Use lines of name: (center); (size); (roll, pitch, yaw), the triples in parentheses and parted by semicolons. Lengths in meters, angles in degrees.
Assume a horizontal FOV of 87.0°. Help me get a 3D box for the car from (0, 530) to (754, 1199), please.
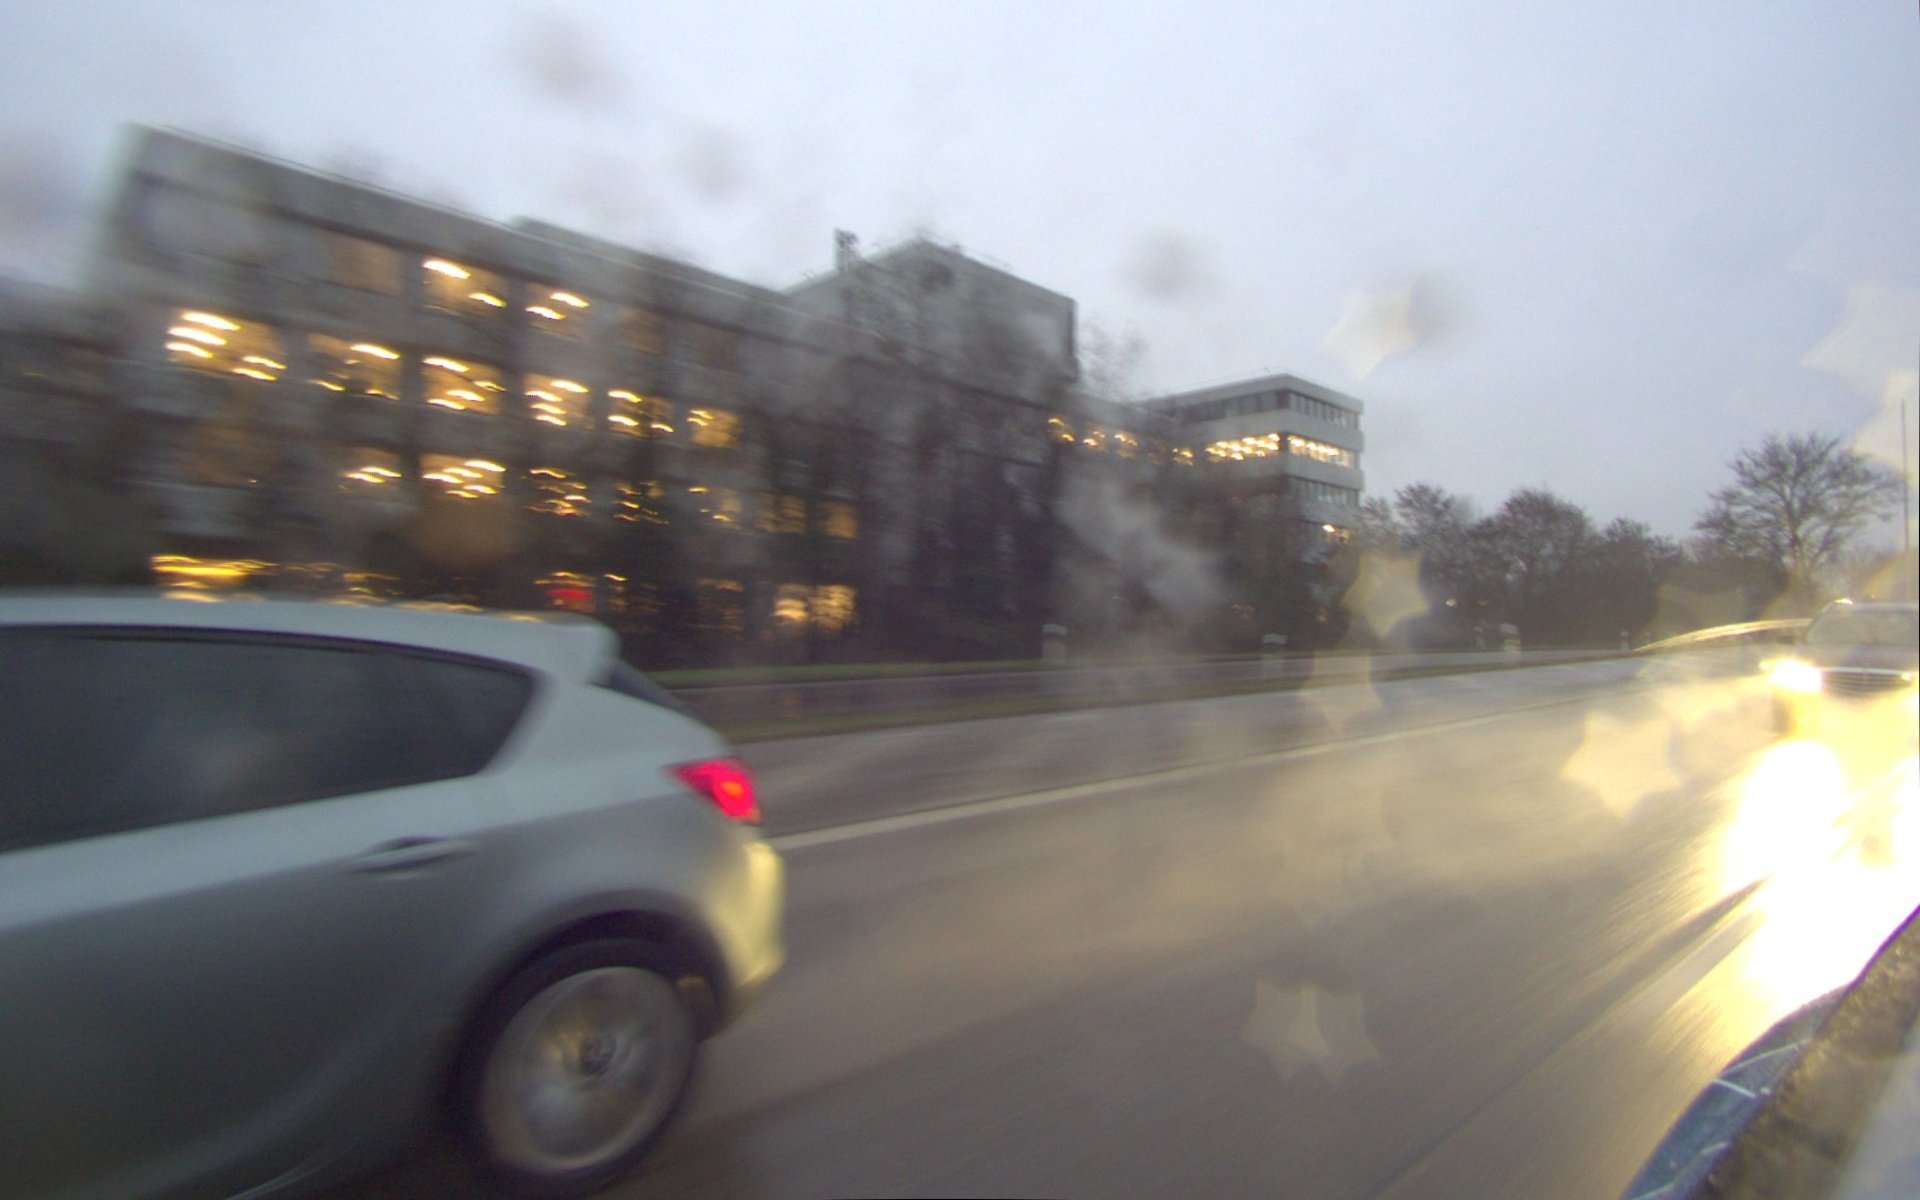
car: (-2.715, 0.646, 2.001); (4.190, 1.520, 1.851); (-1, 0, -43)

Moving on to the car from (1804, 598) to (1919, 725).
car: (12.538, 0.718, 13.142); (4.100, 1.472, 1.595); (0, 0, -38)
